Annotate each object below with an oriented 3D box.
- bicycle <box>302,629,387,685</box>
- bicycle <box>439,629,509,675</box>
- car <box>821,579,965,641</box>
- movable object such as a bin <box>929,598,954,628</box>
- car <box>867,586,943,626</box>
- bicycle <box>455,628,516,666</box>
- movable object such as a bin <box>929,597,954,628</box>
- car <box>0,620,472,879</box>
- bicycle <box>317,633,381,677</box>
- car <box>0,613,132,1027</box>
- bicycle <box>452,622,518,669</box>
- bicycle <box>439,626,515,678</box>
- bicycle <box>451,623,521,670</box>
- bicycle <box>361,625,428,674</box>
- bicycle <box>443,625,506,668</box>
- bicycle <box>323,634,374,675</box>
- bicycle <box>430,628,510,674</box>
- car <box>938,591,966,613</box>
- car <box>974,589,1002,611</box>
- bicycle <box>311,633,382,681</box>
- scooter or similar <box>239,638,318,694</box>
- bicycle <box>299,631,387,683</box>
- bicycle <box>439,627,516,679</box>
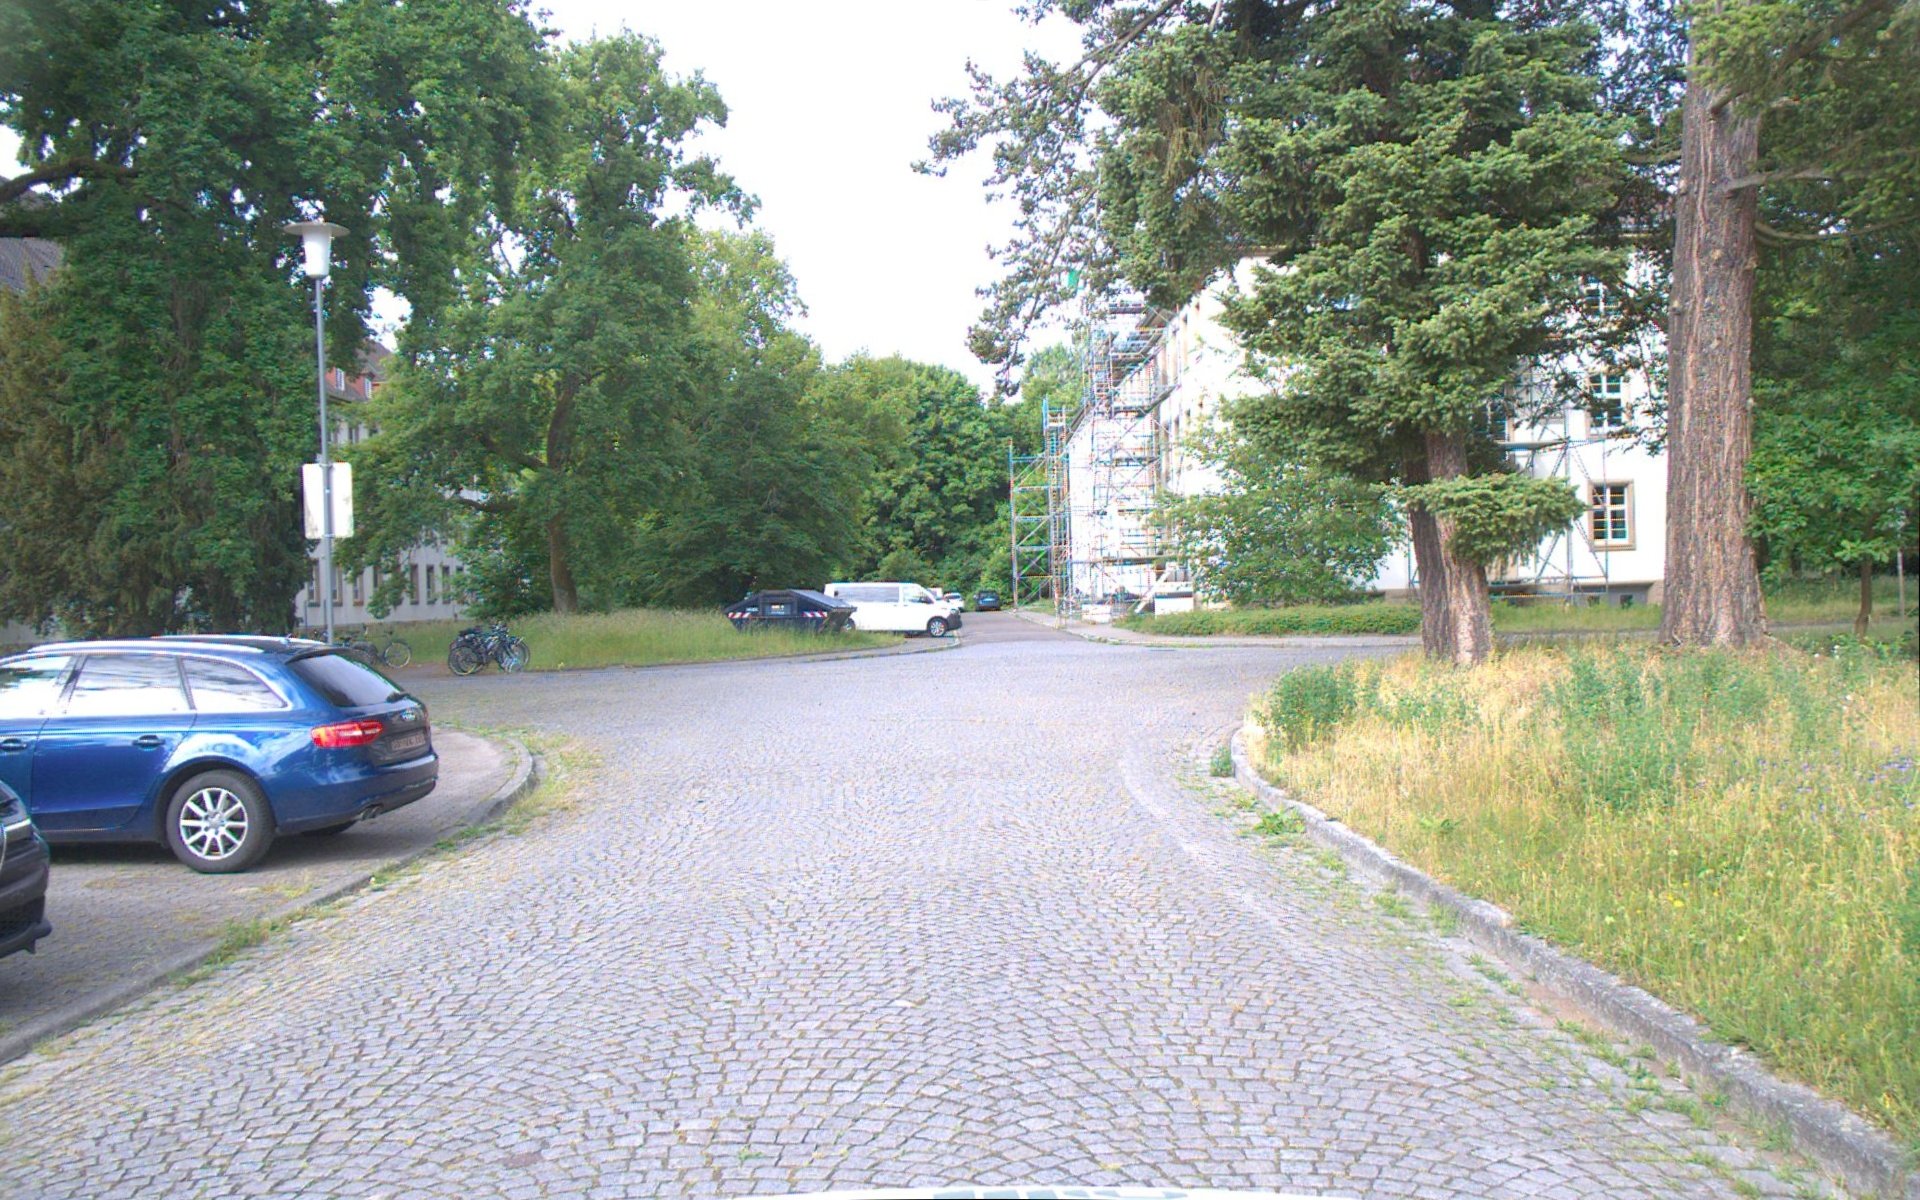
[{"bbox_3d":[-14.858,1.370,39.986,1.867,1.244,0.640,-2,2,-20],"label":"bicycle"},{"bbox_3d":[-12.465,1.331,42.415,1.666,1.018,0.629,-4,3,-20],"label":"bicycle"},{"bbox_3d":[-2.414,0.364,60.205,5.095,2.096,2.187,-1,-1,-2],"label":"car"},{"bbox_3d":[-0.889,0.608,79.714,1.159,1.432,0.975,0,-1,0],"label":"movable object such as a bin"},{"bbox_3d":[-2.939,0.340,87.720,3.909,2.049,1.920,1,-1,-5],"label":"car"},{"bbox_3d":[-13.370,1.318,46.617,1.592,0.926,0.524,-4,3,-20],"label":"bicycle"},{"bbox_3d":[-0.890,0.603,78.532,1.159,1.432,0.975,0,-1,0],"label":"movable object such as a bin"},{"bbox_3d":[-5.734,0.971,11.148,4.340,1.505,1.682,-2,0,1],"label":"car"},{"bbox_3d":[-16.018,1.434,43.371,1.496,1.053,0.540,-3,2,-31],"label":"bicycle"},{"bbox_3d":[-5.755,0.919,6.488,4.055,1.600,1.789,-2,-1,-2],"label":"car"},{"bbox_3d":[-13.076,1.252,45.554,1.672,1.135,0.538,-4,3,-20],"label":"bicycle"},{"bbox_3d":[-12.190,1.303,41.765,1.767,1.122,0.699,-4,3,-20],"label":"bicycle"},{"bbox_3d":[-12.908,1.267,45.043,1.745,1.124,0.538,-4,3,-20],"label":"bicycle"},{"bbox_3d":[-15.230,1.313,44.540,1.619,1.206,0.569,-2,2,-26],"label":"bicycle"},{"bbox_3d":[-13.502,1.284,45.993,1.592,1.077,0.524,-4,3,-20],"label":"bicycle"},{"bbox_3d":[-16.893,1.502,45.709,1.240,1.047,0.431,-4,-2,-20],"label":"bicycle"},{"bbox_3d":[-12.790,1.321,43.167,1.925,1.022,0.682,-4,3,-20],"label":"bicycle"},{"bbox_3d":[-0.633,0.172,126.242,1.961,1.575,3.955,0,-1,-3],"label":"car"},{"bbox_3d":[2.152,0.031,126.583,2.020,1.621,4.001,0,-1,2],"label":"car"},{"bbox_3d":[-15.588,1.449,42.058,1.608,1.092,0.534,-3,2,-31],"label":"bicycle"},{"bbox_3d":[-16.098,1.560,39.106,1.515,1.215,0.682,-3,1,3],"label":"scooter or similar"},{"bbox_3d":[-15.127,1.393,40.590,1.956,1.133,0.640,-2,2,-20],"label":"bicycle"},{"bbox_3d":[-11.984,1.315,41.053,1.742,1.122,0.699,-4,3,-20],"label":"bicycle"}]
